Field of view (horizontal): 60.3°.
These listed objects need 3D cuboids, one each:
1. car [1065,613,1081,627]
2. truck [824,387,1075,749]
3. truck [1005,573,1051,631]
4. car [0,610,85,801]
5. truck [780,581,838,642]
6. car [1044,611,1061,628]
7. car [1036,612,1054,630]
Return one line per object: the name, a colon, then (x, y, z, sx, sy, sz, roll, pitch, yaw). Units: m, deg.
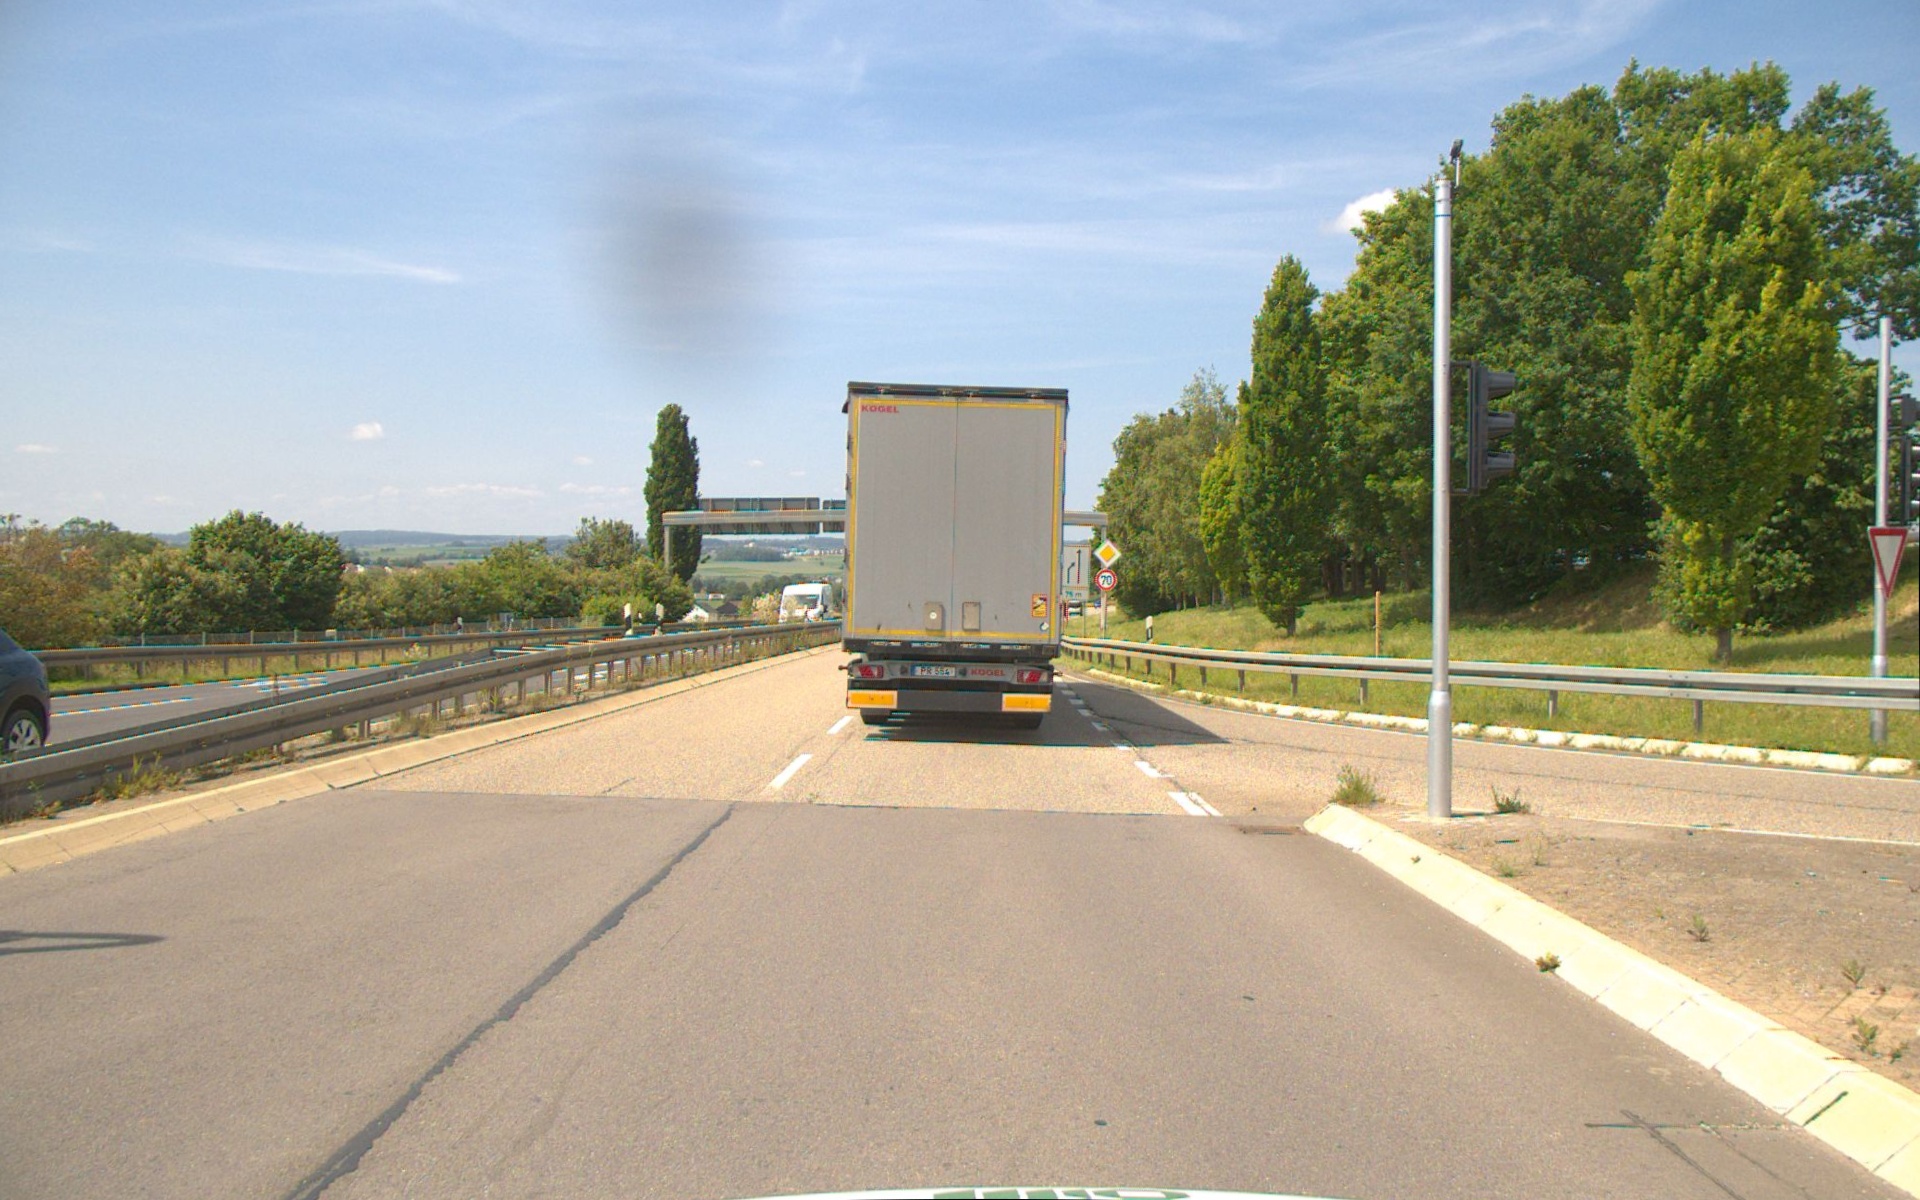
car: (13.582, 2.424, 199.481, 1.749, 1.717, 4.001, 1, -1, 2)
truck: (-0.262, -0.341, 24.198, 2.742, 3.998, 11.337, 1, 0, -2)
truck: (4.884, 0.234, 117.489, 2.599, 3.831, 10.167, 1, -1, 6)
car: (-8.389, 0.838, 12.162, 1.719, 1.494, 4.195, -1, 0, -1)
truck: (-6.981, 0.545, 77.039, 1.998, 2.667, 6.020, -2, 0, 1)
car: (10.120, 2.138, 180.637, 1.749, 1.717, 4.001, 1, -1, 2)
car: (8.387, 2.113, 163.319, 1.749, 1.717, 4.001, 1, -1, 2)
